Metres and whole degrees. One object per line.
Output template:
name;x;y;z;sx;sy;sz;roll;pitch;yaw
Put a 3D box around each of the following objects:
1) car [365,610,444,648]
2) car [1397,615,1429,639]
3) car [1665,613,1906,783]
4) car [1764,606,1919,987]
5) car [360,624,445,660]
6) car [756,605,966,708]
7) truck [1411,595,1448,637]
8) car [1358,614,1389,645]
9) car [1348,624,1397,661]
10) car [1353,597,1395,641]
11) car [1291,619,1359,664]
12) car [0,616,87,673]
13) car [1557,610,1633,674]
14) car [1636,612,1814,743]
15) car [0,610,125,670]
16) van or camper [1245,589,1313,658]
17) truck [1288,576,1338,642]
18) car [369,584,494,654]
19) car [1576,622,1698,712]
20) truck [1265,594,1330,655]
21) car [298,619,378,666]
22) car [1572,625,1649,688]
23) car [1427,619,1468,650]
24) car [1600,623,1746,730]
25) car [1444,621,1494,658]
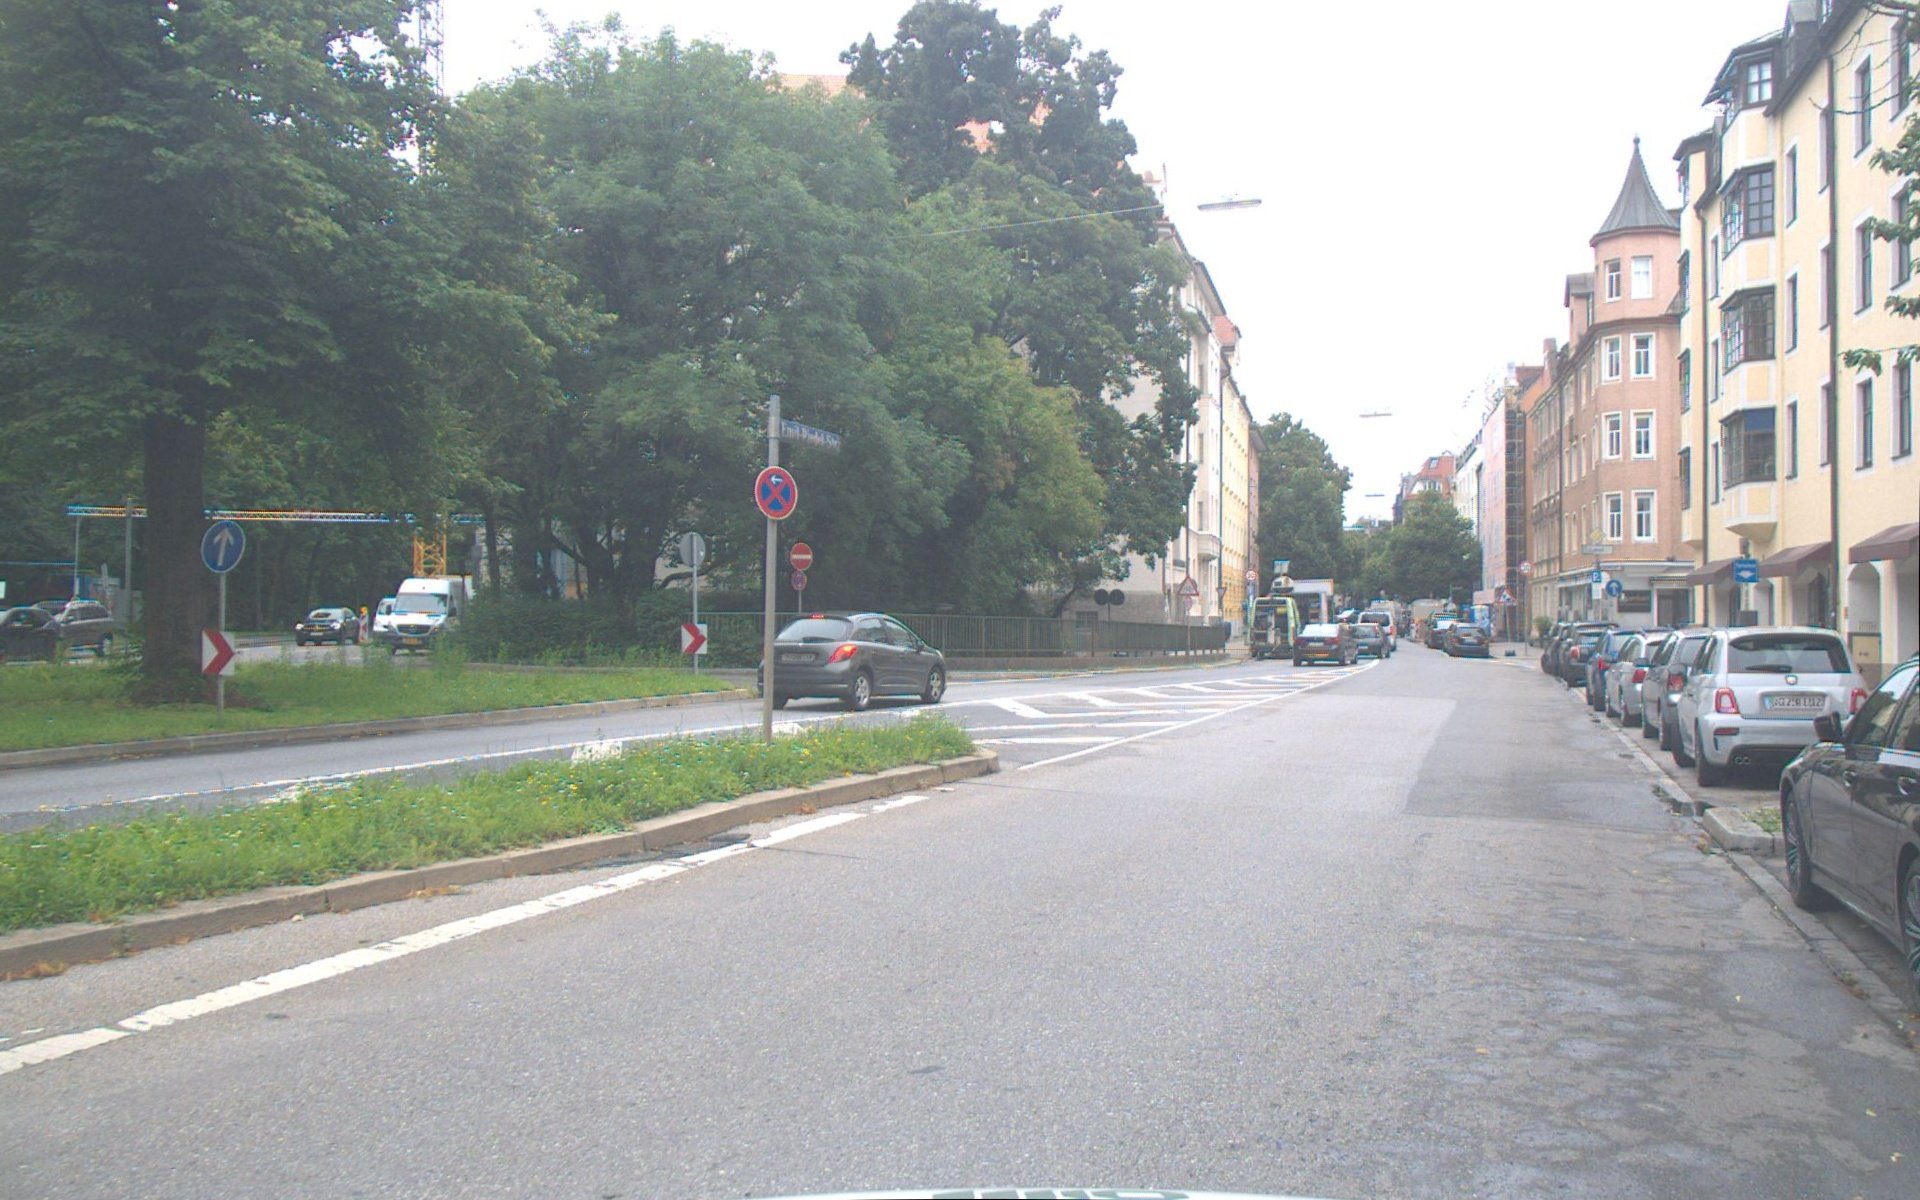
car;-22.541;1.157;67.265;1.853;1.472;4.297;0;-1;-2
car;29.288;1.751;107.060;1.948;1.454;4.143;0;0;15
car;8.243;0.922;16.818;1.594;1.522;3.822;-2;-1;18
car;4.937;0.757;7.317;1.754;1.523;4.378;-3;-2;17
car;-24.223;1.819;72.059;1.851;1.472;4.391;-1;-1;6
car;-1.478;0.858;26.266;1.723;1.486;4.073;-1;-1;23
truck;34.761;1.162;122.580;2.438;3.025;5.331;0;-1;13
car;27.739;1.968;111.044;1.951;2.049;4.003;-1;-1;13
car;17.424;1.763;69.772;1.948;1.454;4.143;0;0;15
car;20.477;0.900;81.697;1.948;2.111;4.143;0;0;15
car;13.093;1.456;59.088;1.948;1.454;4.908;0;0;18
car;-25.437;1.178;44.131;1.851;1.472;4.036;-1;-1;6
car;18.170;1.183;47.501;1.719;1.709;4.708;-2;-1;18
car;9.757;0.956;21.340;1.594;1.522;3.788;-2;-1;18
car;-28.347;1.240;51.549;1.951;1.748;4.651;-1;-1;6
van or camper;14.121;0.994;72.878;2.545;2.890;6.190;0;0;15
truck;22.547;0.589;105.544;2.948;4.021;7.001;0;-1;13
car;-18.236;0.661;57.323;2.252;2.310;5.131;0;-1;6
car;12.520;1.199;30.799;1.719;1.522;4.489;-2;-1;18
truck;16.989;1.168;83.003;2.714;2.923;7.207;0;0;15
car;-26.456;1.786;70.461;1.709;1.907;4.002;0;-1;4
car;16.699;1.429;42.601;1.720;1.522;3.823;-2;-1;20
car;26.492;1.851;89.978;1.805;1.454;4.310;3;1;13
car;11.112;1.138;26.027;1.655;1.522;4.436;-2;-1;18
car;23.181;1.767;75.445;1.805;1.454;4.187;3;1;13
